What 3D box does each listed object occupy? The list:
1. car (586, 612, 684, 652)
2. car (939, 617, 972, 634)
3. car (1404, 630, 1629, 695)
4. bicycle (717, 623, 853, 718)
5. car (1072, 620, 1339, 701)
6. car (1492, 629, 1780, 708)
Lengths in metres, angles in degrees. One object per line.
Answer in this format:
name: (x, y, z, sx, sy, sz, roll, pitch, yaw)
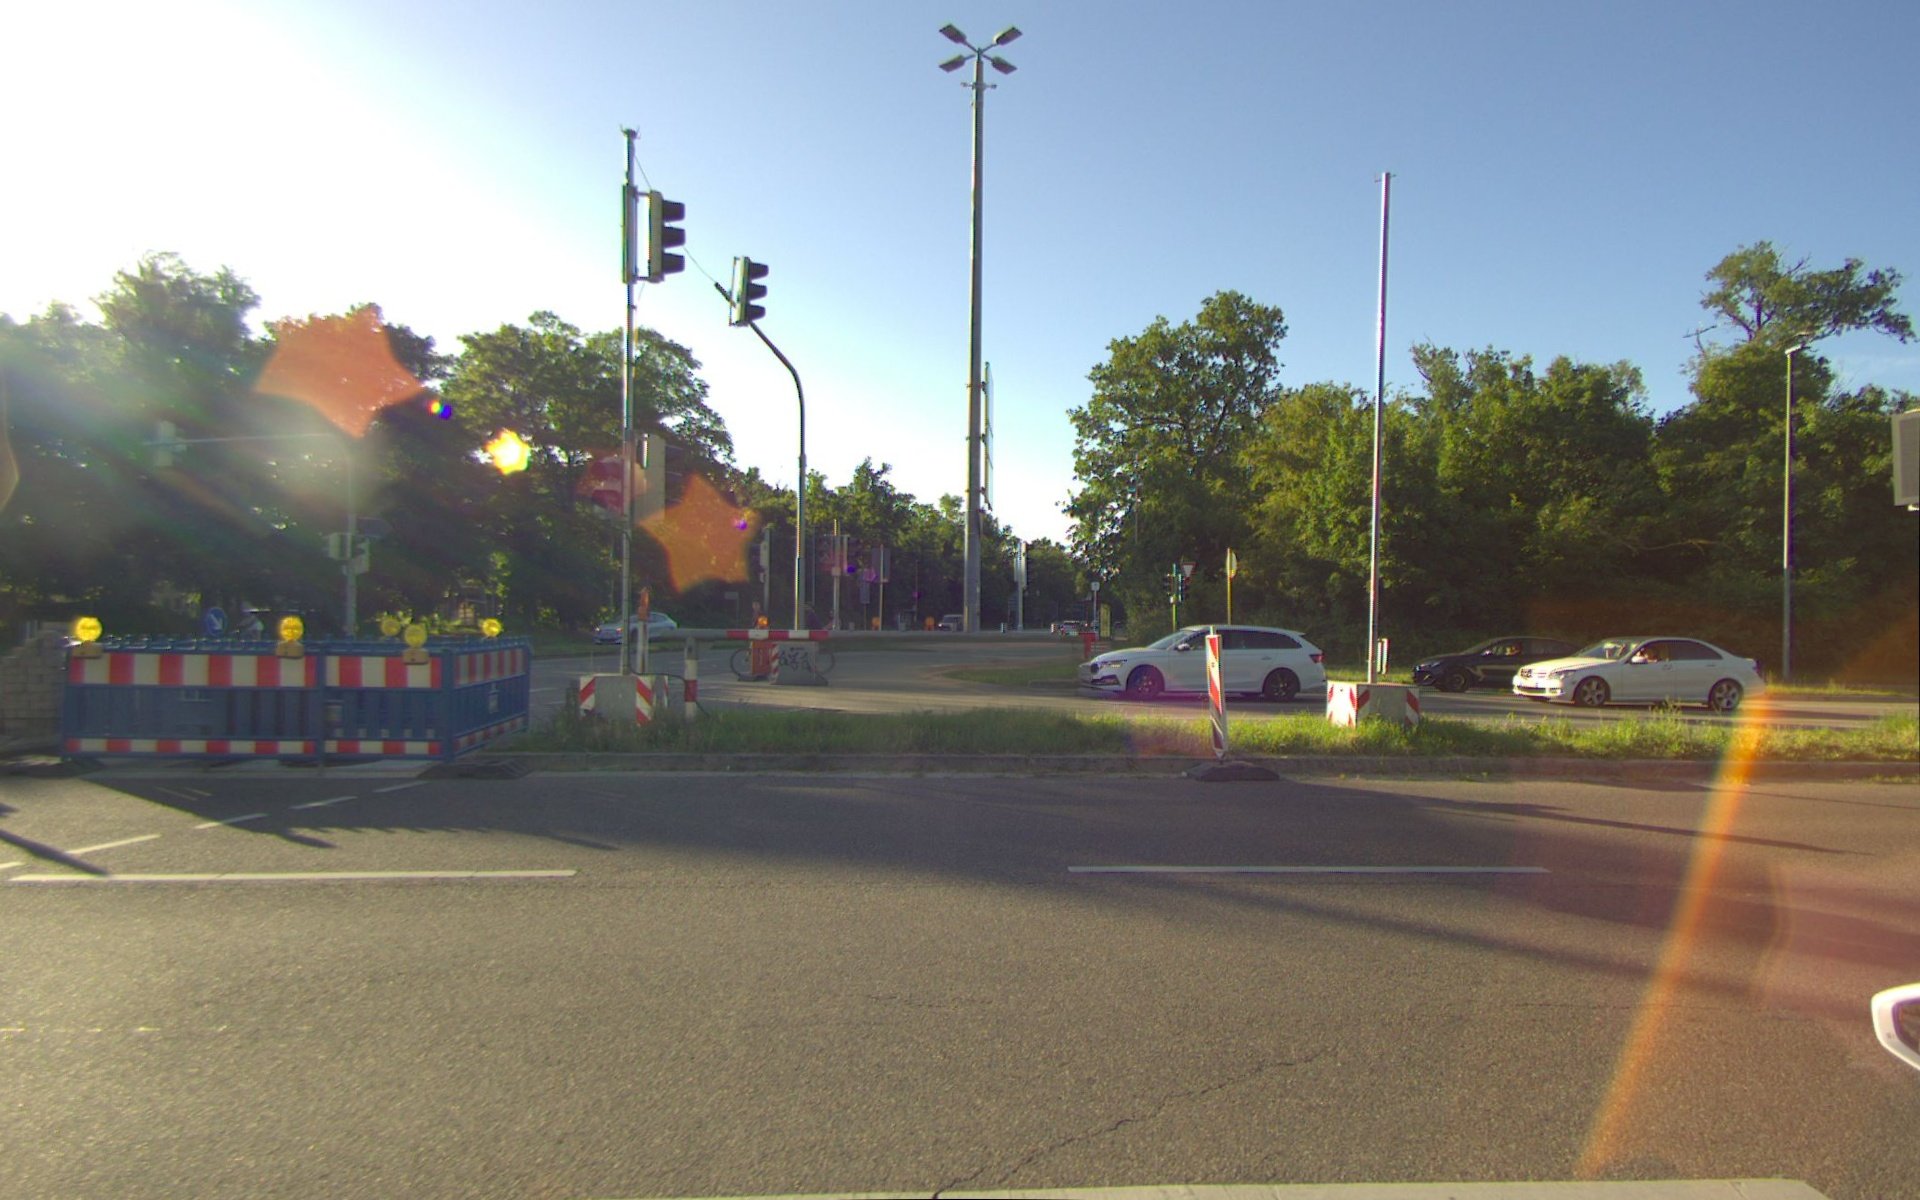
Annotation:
car: (-14.861, 1.437, 46.215, 1.960, 1.709, 4.745, 0, -1, 16)
car: (-0.422, 2.541, 100.478, 1.960, 1.709, 4.743, 0, -1, 19)
car: (13.790, 1.528, 25.186, 4.553, 1.470, 2.001, 0, -1, 12)
bicycle: (-1.785, 0.715, 10.312, 1.320, 0.917, 0.339, 2, 0, -3)
car: (4.749, 1.184, 19.819, 4.751, 1.470, 1.999, 1, -2, -6)
car: (13.546, 1.366, 20.311, 4.558, 1.470, 1.999, 1, -2, -4)
